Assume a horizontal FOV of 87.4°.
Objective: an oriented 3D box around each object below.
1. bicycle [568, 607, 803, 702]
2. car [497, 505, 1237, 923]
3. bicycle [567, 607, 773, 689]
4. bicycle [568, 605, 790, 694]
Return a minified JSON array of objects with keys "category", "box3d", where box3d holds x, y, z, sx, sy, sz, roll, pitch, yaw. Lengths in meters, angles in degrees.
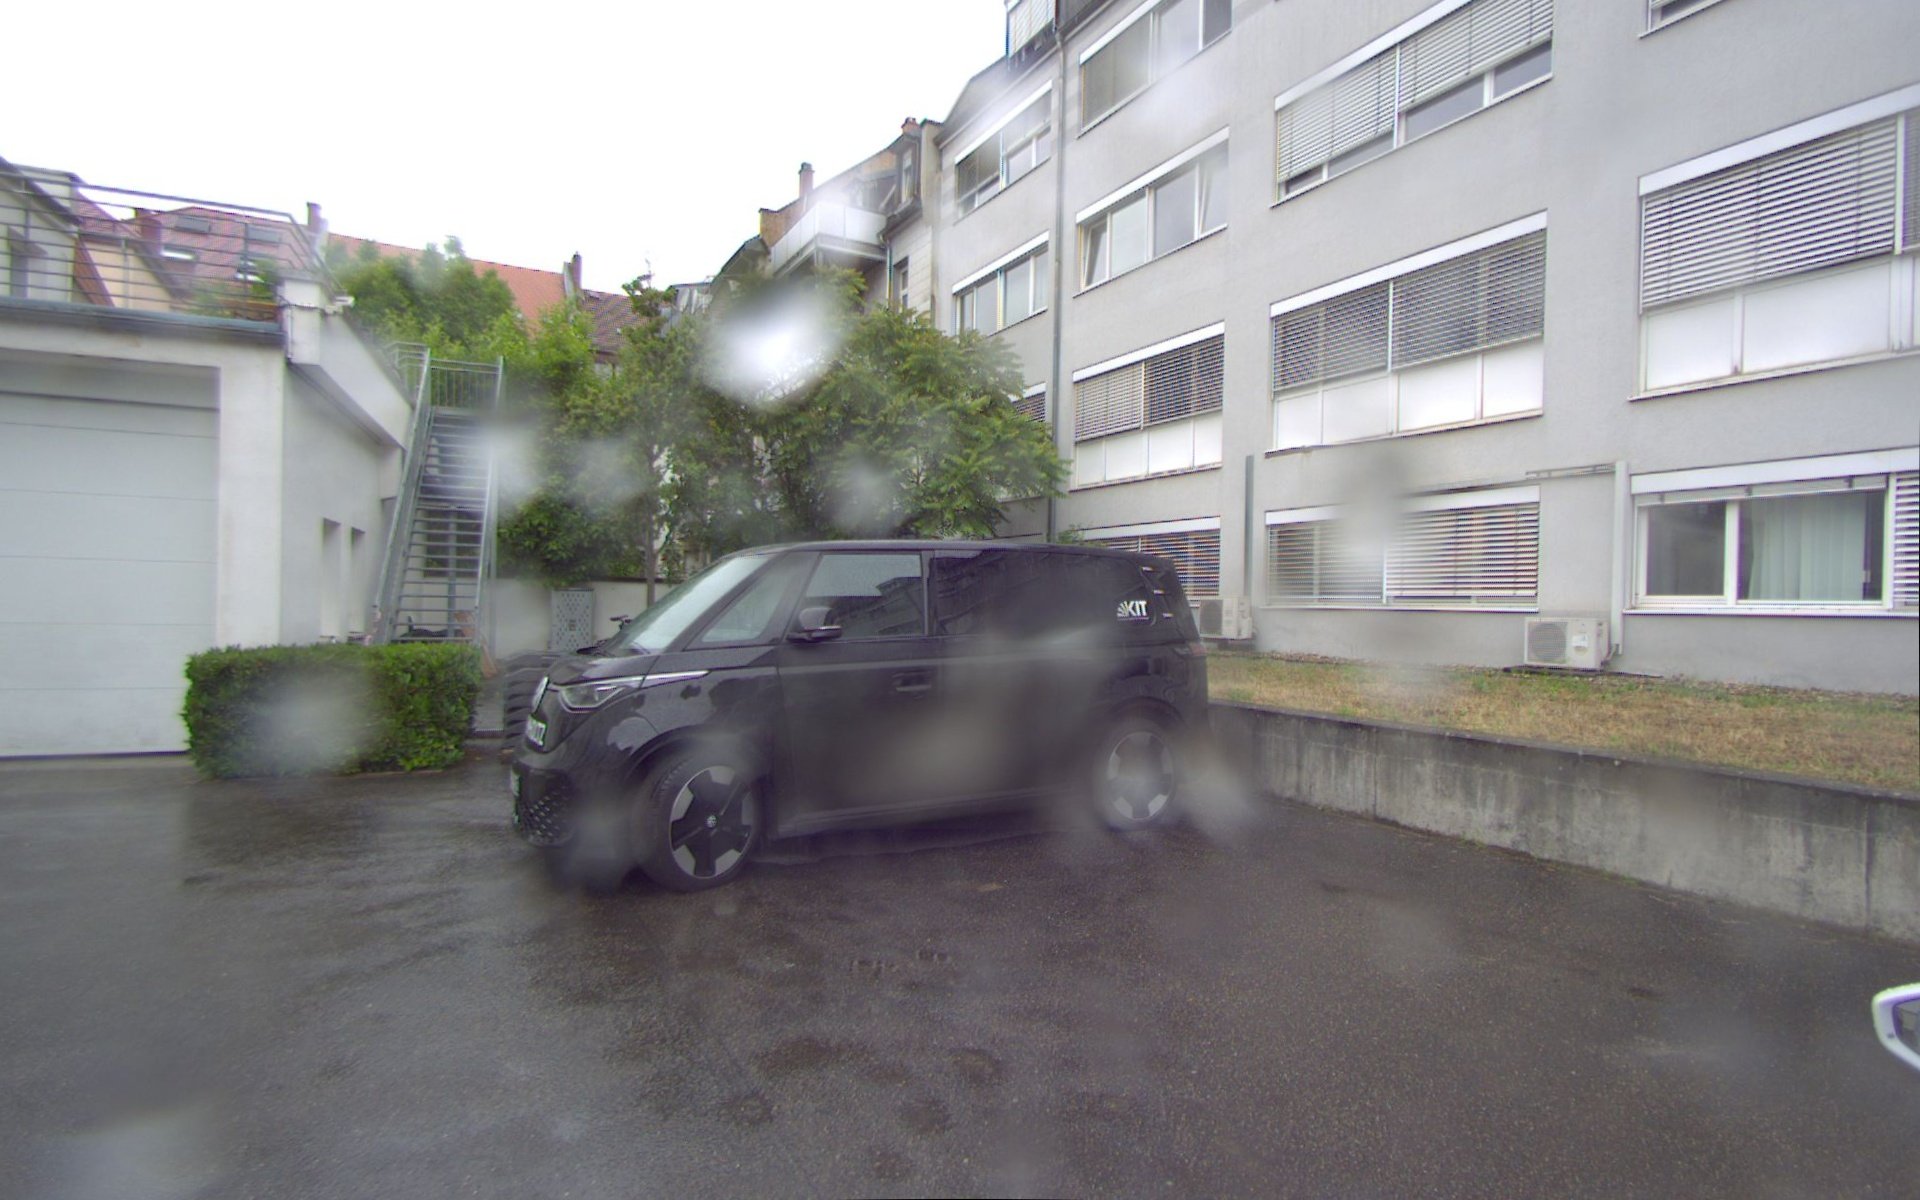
[{"category":"bicycle","box3d":[-3.881,0.758,14.366,3.181,1.258,0.627,1,-1,-26]},{"category":"car","box3d":[-0.512,0.570,6.658,4.470,1.922,2.030,1,-1,-31]},{"category":"bicycle","box3d":[-4.702,0.766,16.424,3.181,1.258,0.627,1,-1,-26]},{"category":"bicycle","box3d":[-4.218,0.731,15.256,3.181,1.258,0.627,1,-1,-26]}]
